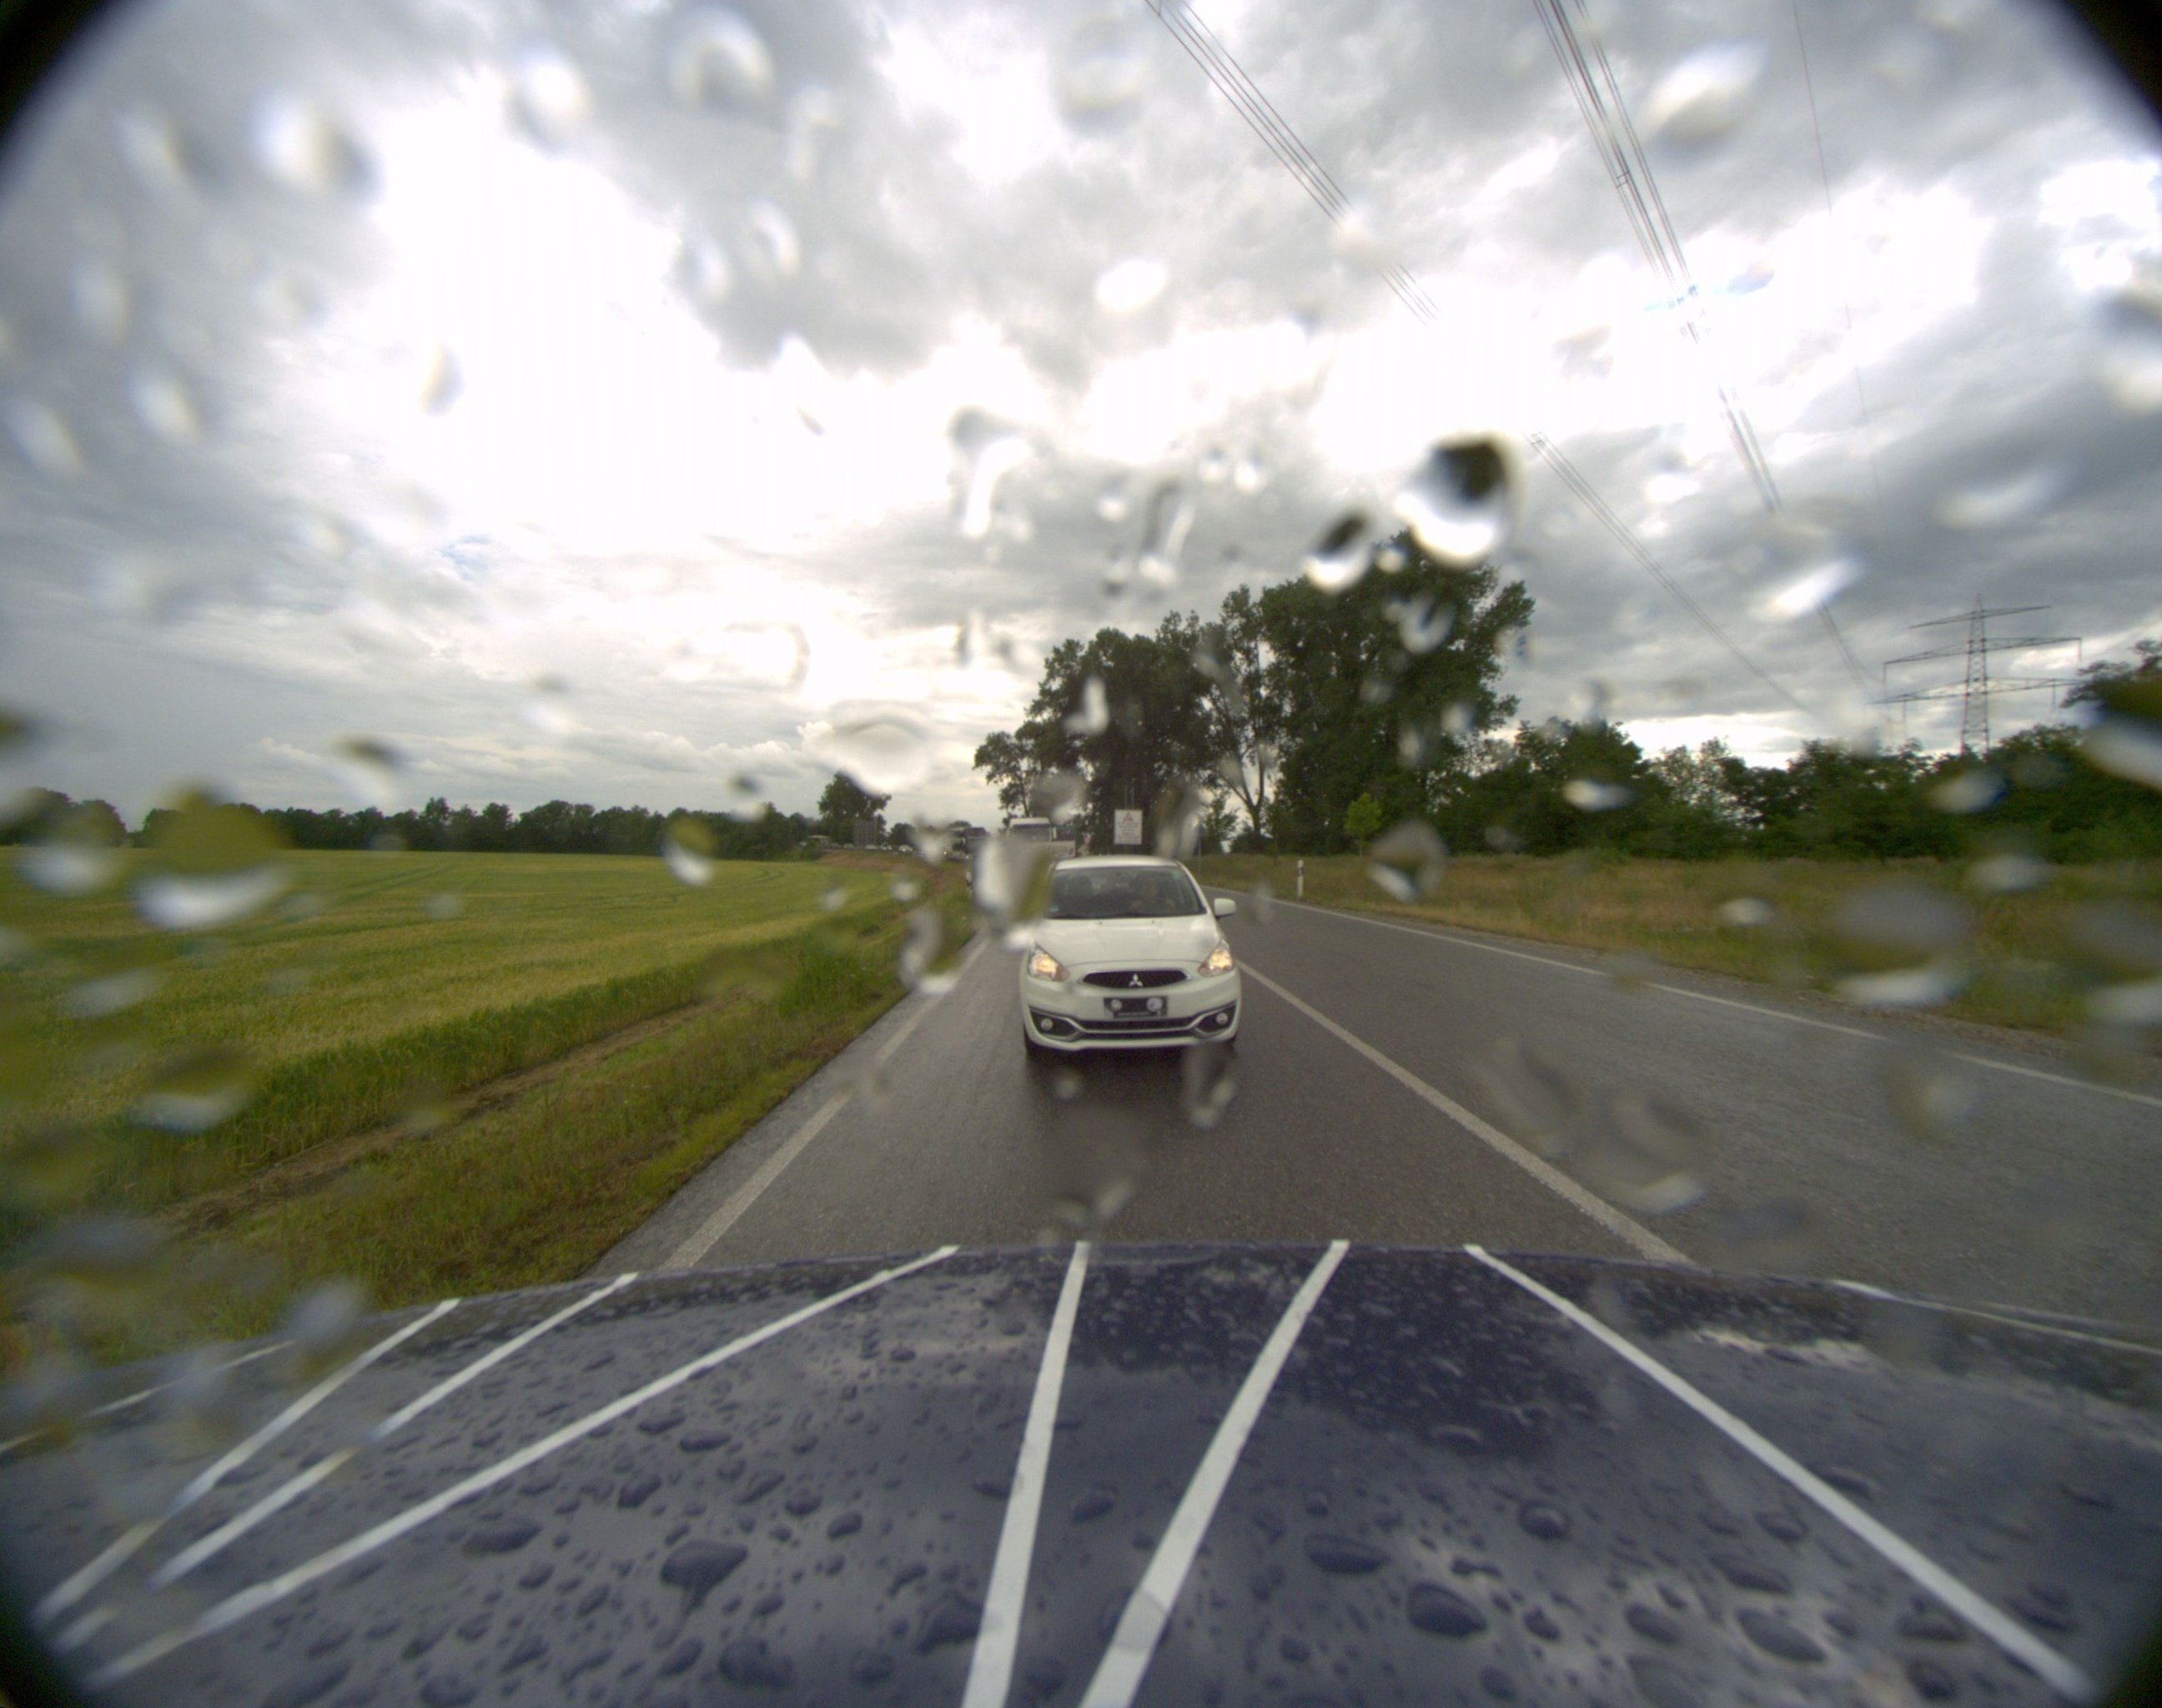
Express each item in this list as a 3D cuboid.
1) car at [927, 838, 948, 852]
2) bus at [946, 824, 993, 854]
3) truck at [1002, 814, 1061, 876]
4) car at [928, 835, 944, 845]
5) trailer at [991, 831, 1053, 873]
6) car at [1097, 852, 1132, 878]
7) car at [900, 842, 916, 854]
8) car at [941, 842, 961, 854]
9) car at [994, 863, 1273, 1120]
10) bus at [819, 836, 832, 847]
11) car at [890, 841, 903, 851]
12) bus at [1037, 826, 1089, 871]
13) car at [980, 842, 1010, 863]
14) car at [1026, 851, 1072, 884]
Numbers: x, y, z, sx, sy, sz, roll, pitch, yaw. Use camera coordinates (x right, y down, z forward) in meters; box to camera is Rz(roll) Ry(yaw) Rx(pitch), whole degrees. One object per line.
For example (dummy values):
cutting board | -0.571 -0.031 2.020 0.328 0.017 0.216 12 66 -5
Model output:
car | -21.808 -1.410 115.347 2.002 2.002 5.324 -3 2 -23
bus | -13.682 -1.902 91.626 2.968 3.294 14.809 -3 3 -18
truck | -3.228 -0.599 48.138 2.986 3.590 6.073 -3 2 -10
car | -30.733 -2.914 161.243 2.003 2.002 4.109 -3 2 -30
trailer | -4.684 -0.311 56.550 2.986 2.618 15.663 -2 2 -10
car | 1.839 0.573 42.628 1.723 1.244 3.998 -2 2 -1
car | -31.649 -1.138 138.774 2.002 2.002 4.223 -3 2 -24
car | -17.942 -0.805 104.739 1.816 1.569 3.992 -3 2 -20
car | 0.271 0.857 6.632 1.653 1.461 4.029 -2 0 -2
bus | -70.271 -3.544 208.819 2.003 2.899 6.992 -3 2 -30
car | -40.089 -1.716 165.044 1.891 2.002 4.286 -3 2 -27
bus | -1.728 -0.478 63.198 2.767 3.279 12.491 -2 1 -8
car | -8.274 -0.219 72.906 2.044 1.832 5.328 -3 2 -15
car | -1.640 0.619 37.137 1.782 1.380 4.324 -2 2 -8
